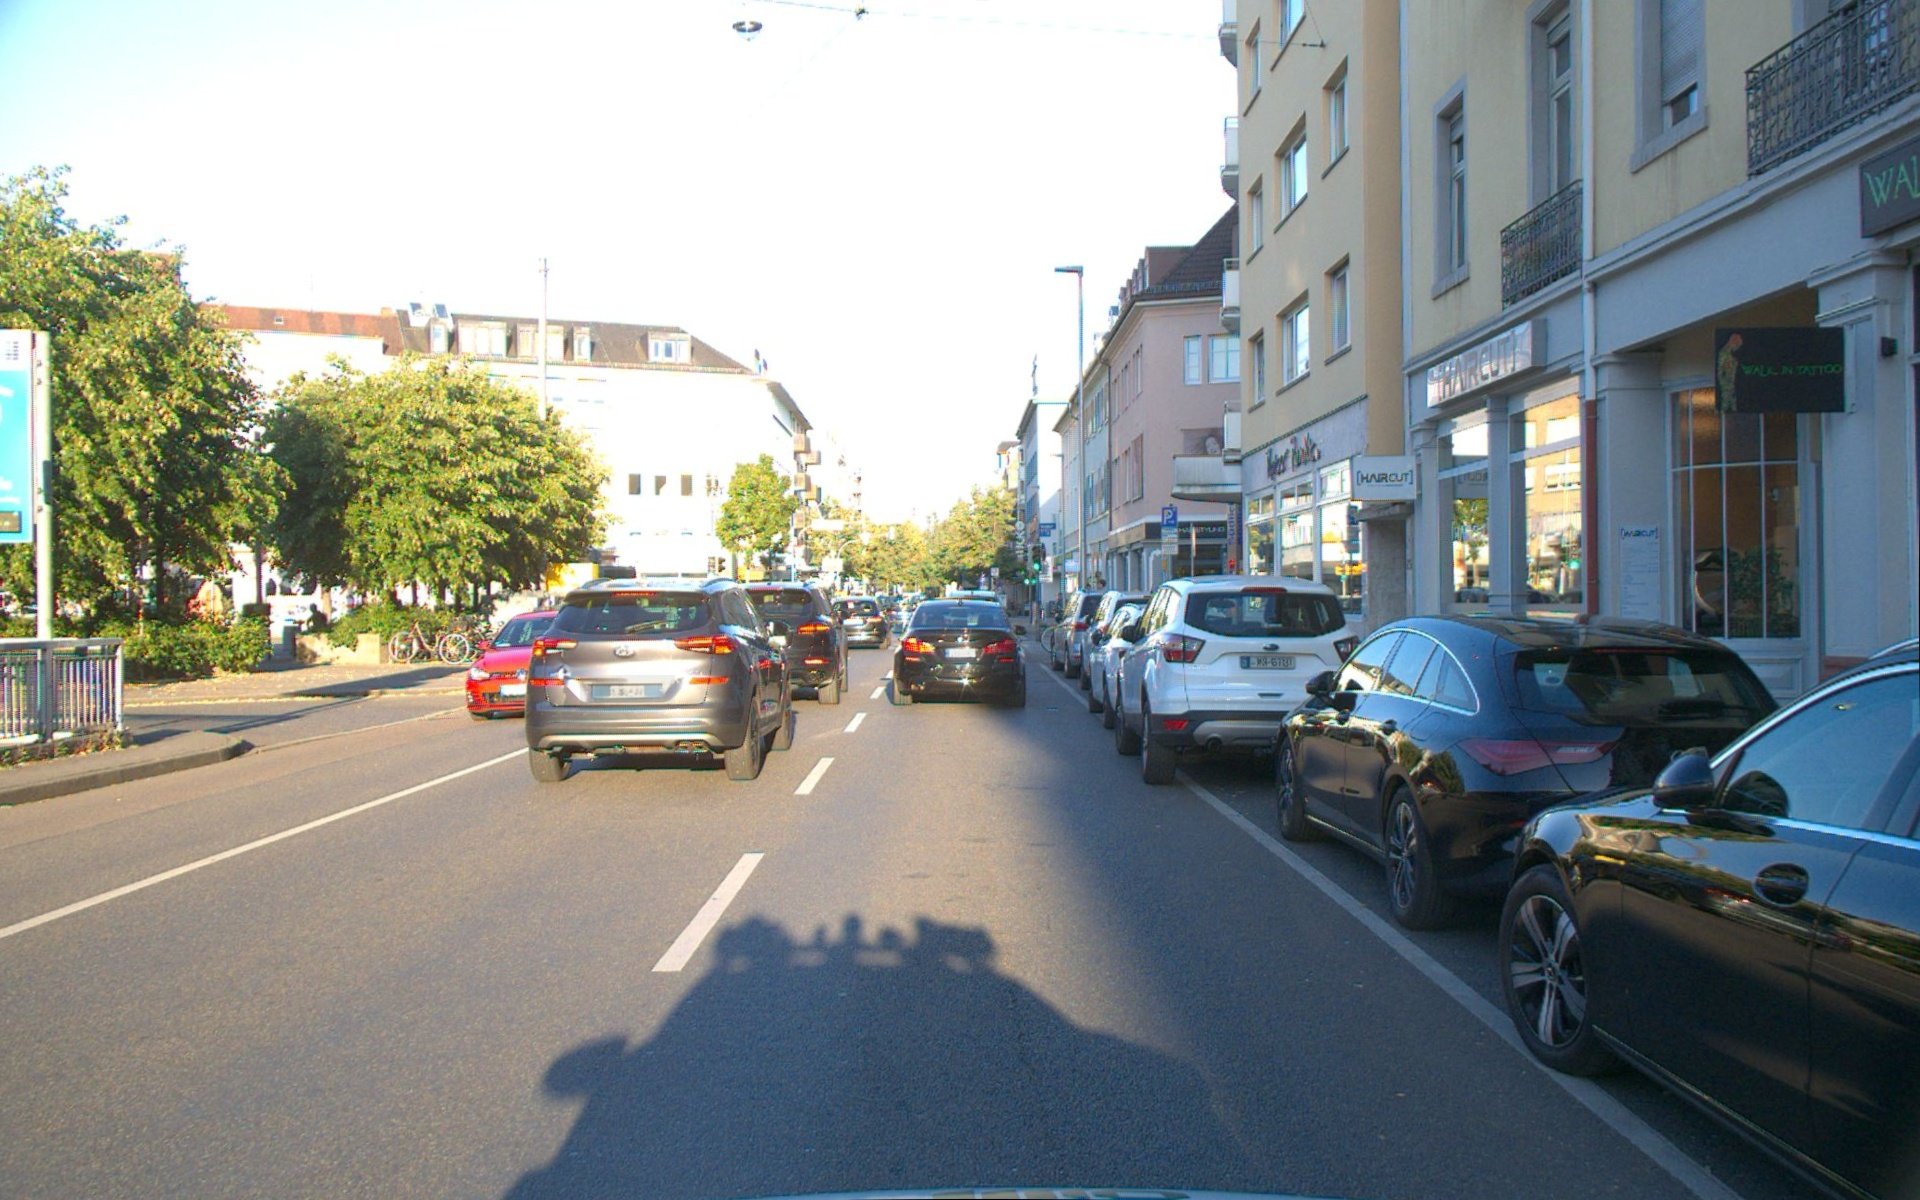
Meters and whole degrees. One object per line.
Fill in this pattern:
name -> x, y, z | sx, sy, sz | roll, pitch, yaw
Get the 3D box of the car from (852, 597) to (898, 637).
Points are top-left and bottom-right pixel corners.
car -> -3.434, 0.671, 67.565 | 1.743, 1.574, 3.999 | 0, 0, -1

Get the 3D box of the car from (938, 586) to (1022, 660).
car -> 0.425, 0.517, 39.090 | 1.858, 1.609, 3.999 | 1, 0, -1

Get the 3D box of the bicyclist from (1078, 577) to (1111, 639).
bicyclist -> 4.027, 0.235, 49.453 | 0.814, 1.808, 0.608 | 0, 0, 27

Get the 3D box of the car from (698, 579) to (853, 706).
car -> -2.581, 0.561, 24.029 | 1.858, 1.678, 4.103 | 0, 0, -1

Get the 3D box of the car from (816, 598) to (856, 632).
car -> -6.177, 0.732, 82.735 | 1.657, 1.579, 3.950 | -3, 0, -1

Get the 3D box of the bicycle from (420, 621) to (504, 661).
bicycle -> -11.746, 0.968, 39.029 | 1.789, 0.868, 0.483 | 2, 0, -4

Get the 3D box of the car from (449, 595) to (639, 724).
car -> -5.740, 0.766, 23.283 | 1.657, 1.579, 3.950 | -3, 0, -1

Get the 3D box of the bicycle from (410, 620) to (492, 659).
bicycle -> -12.286, 0.949, 39.933 | 1.789, 0.868, 0.483 | 2, 0, -4

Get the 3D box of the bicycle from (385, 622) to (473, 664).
bicycle -> -11.947, 0.962, 37.223 | 1.789, 0.868, 0.483 | 2, 0, -4

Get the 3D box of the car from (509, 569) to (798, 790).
car -> -2.539, 0.605, 14.680 | 1.858, 1.678, 4.103 | 0, 0, -1

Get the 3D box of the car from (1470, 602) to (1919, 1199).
car -> 2.683, 0.764, 3.653 | 1.694, 1.474, 4.524 | 1, -1, 0

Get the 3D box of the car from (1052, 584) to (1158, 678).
car -> 2.757, 0.585, 32.228 | 1.694, 1.681, 3.970 | 1, -1, 0

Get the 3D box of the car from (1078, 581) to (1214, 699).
car -> 2.849, 0.604, 26.008 | 1.694, 1.681, 3.828 | 1, -1, 0

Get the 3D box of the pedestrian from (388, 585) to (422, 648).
pedestrian -> -14.302, 0.421, 42.641 | 0.668, 1.623, 0.487 | 0, 0, 19

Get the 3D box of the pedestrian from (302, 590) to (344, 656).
pedestrian -> -15.657, 0.561, 40.641 | 0.774, 1.623, 0.568 | 0, 0, 19

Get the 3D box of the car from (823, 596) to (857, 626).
car -> -6.787, 0.589, 93.725 | 1.657, 1.579, 3.950 | -3, 0, -1

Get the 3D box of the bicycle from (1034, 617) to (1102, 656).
bicycle -> 2.758, 0.924, 42.195 | 1.728, 0.984, 0.491 | 0, 0, 5

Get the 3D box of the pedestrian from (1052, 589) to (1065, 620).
pedestrian -> 4.936, 0.219, 82.882 | 0.619, 1.561, 0.702 | 0, 0, 2

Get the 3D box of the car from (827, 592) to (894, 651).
car -> -2.760, 0.578, 46.622 | 1.743, 1.574, 3.999 | 0, 0, -1

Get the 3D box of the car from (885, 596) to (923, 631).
car -> -2.625, 0.622, 78.602 | 1.743, 1.574, 3.999 | 0, 0, -1

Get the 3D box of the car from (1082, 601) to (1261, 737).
car -> 2.507, 0.786, 20.495 | 1.694, 1.476, 4.312 | 1, -1, 1

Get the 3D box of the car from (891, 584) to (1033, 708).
car -> -0.007, 0.616, 23.915 | 1.858, 1.609, 3.999 | 1, 0, -1

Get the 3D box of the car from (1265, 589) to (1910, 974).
car -> 2.884, 0.733, 8.742 | 1.694, 1.474, 4.473 | 1, -1, 0

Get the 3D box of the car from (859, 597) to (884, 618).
car -> -6.872, 0.575, 128.662 | 1.657, 1.579, 3.950 | -3, 0, -1

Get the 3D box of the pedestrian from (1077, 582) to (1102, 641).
pedestrian -> 4.039, 0.355, 51.487 | 0.685, 1.843, 0.634 | 0, 0, -4

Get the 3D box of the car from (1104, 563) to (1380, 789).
car -> 2.339, 0.600, 14.735 | 1.694, 1.679, 4.284 | 1, -1, 0

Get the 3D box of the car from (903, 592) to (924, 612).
car -> -3.867, 0.147, 137.102 | 1.743, 1.574, 3.999 | 0, 0, -1
